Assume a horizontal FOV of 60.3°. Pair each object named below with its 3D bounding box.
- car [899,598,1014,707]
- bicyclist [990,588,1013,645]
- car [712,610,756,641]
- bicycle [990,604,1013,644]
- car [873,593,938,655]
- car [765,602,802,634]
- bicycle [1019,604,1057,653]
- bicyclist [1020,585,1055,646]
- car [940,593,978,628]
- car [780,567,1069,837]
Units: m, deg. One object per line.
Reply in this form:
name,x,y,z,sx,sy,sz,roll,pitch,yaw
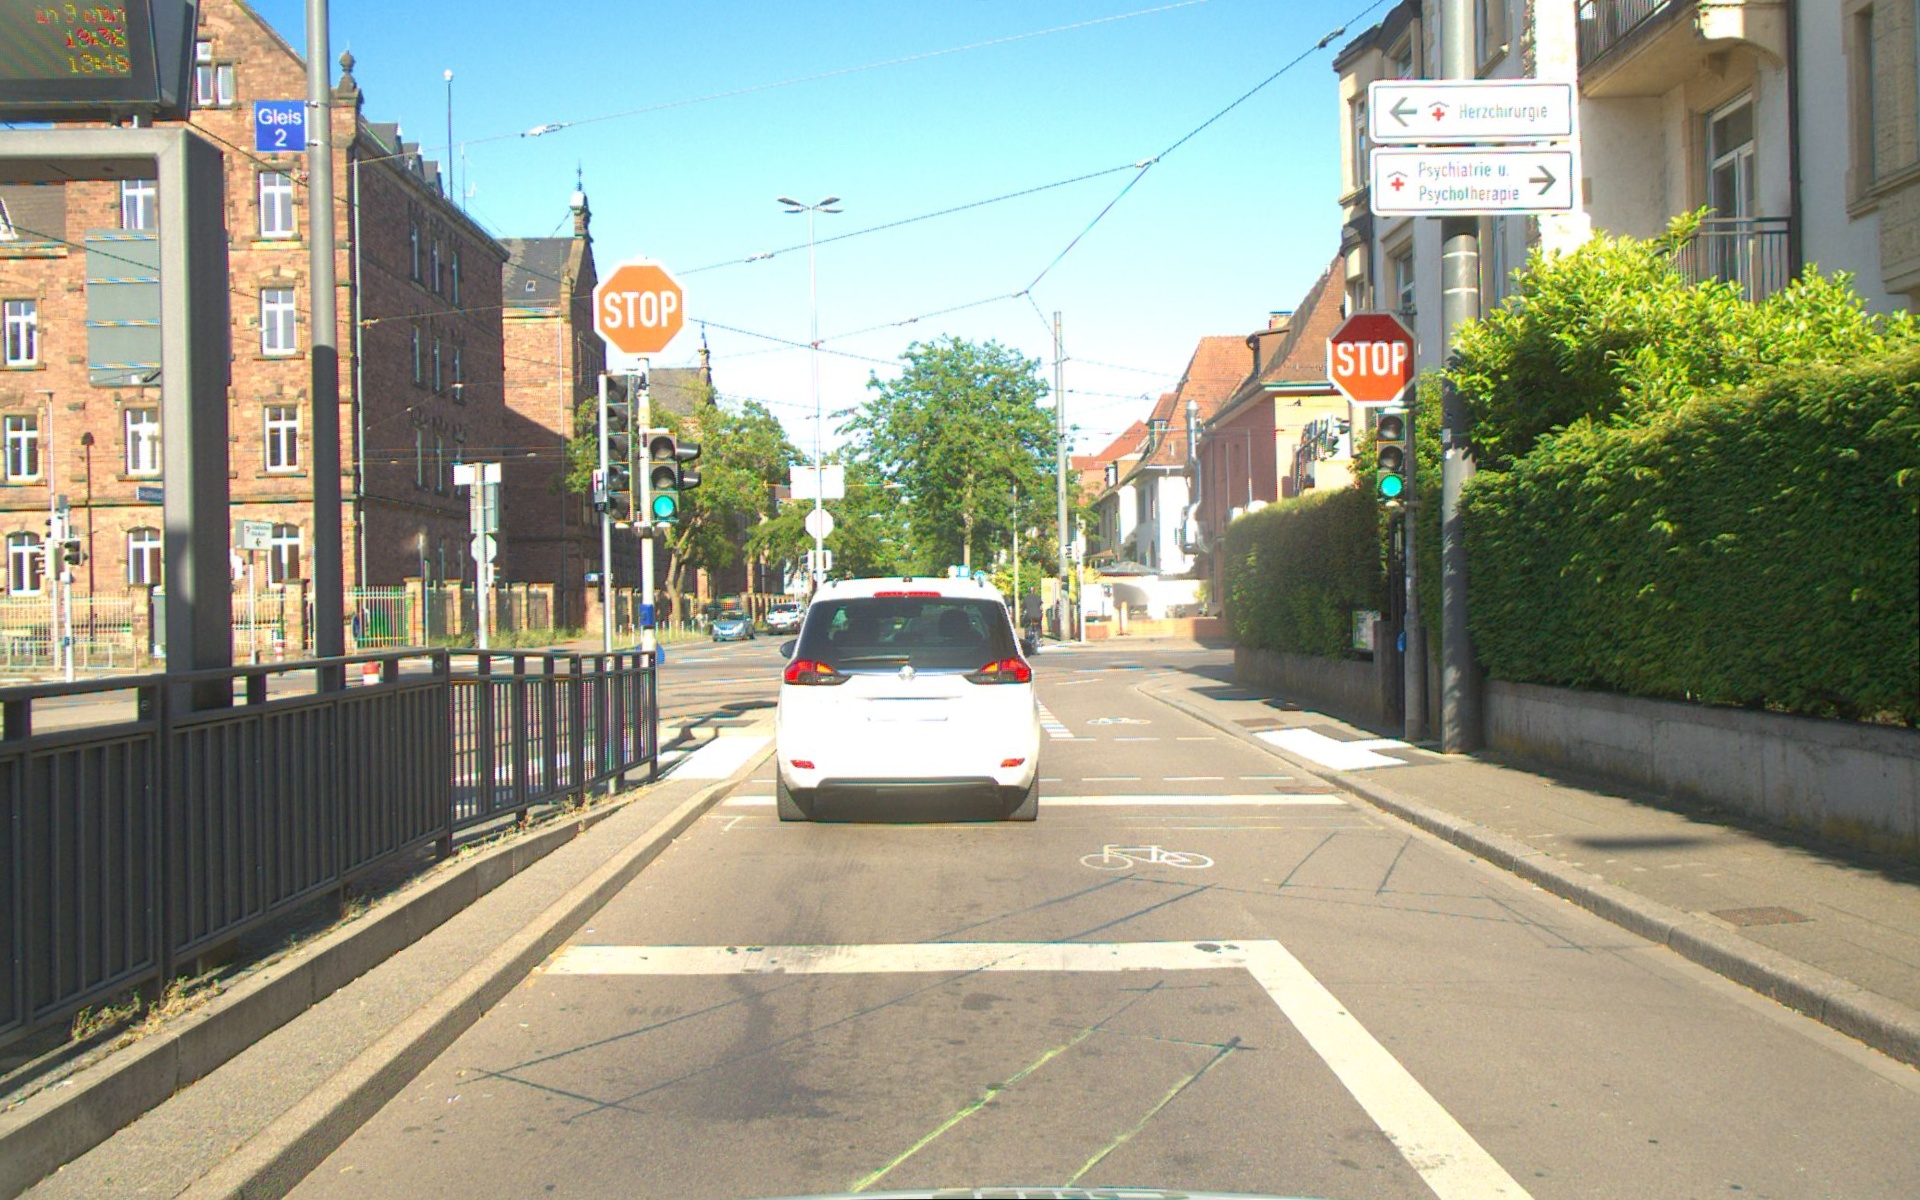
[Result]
car,-0.003,0.724,24.834,1.554,1.445,3.901,-2,0,1
bicyclist,1.235,0.489,49.334,0.671,1.663,1.016,-1,-1,2
car,-11.069,1.242,81.270,1.548,1.466,3.585,-1,-1,2
bicycle,1.239,0.721,49.399,0.671,1.177,1.620,-1,-1,2
car,-1.503,0.661,46.839,1.740,1.660,3.880,-1,-1,0
car,-10.373,1.043,97.527,1.854,1.815,3.879,-1,-1,-1
bicycle,1.953,0.706,41.680,0.812,1.175,2.094,-1,-1,-1
bicyclist,1.953,0.399,41.923,0.804,1.528,0.934,-1,-1,-1
car,-0.032,0.526,82.332,1.739,1.660,3.881,-1,-1,2
car,-0.219,0.658,12.369,1.797,1.671,3.918,-1,-1,0
